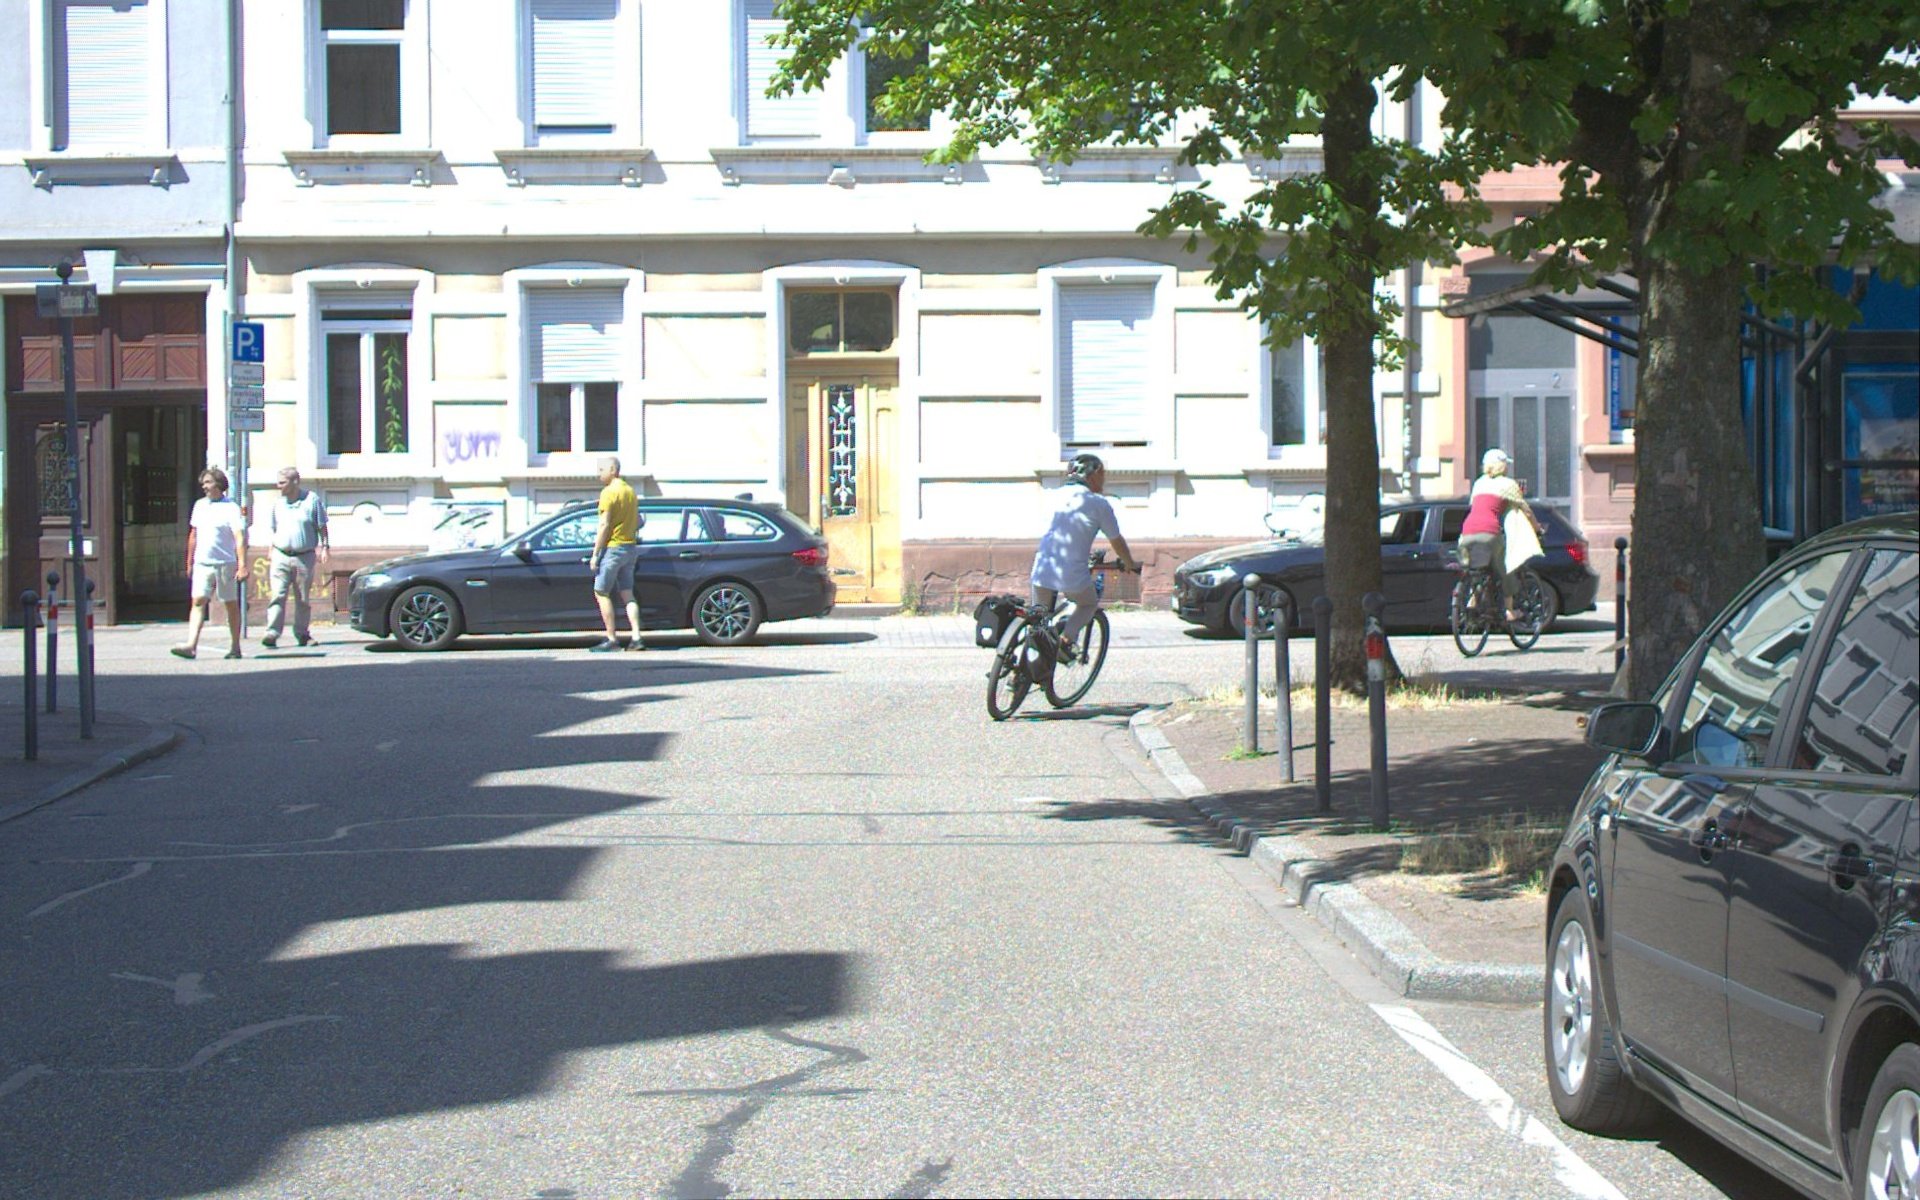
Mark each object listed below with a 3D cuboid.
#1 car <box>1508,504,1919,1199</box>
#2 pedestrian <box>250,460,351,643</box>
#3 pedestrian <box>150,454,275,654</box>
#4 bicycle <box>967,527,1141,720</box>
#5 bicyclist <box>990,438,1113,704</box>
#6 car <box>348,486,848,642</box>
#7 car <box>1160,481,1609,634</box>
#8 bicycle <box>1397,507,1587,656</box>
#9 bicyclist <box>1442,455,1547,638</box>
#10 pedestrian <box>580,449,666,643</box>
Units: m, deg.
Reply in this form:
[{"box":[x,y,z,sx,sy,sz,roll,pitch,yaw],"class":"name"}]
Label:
[{"box":[2.412,0.593,7.296,1.663,1.535,4.178,1,2,-2],"class":"car"},{"box":[-6.687,-0.499,34.891,0.901,1.807,0.960,-1,2,-7],"class":"pedestrian"},{"box":[-7.186,-0.450,33.077,0.850,1.882,0.935,-1,2,9],"class":"pedestrian"},{"box":[0.667,0.128,23.462,0.652,1.224,2.440,1,2,14],"class":"bicycle"},{"box":[0.623,-0.203,23.246,0.671,1.754,0.609,2,2,15],"class":"bicyclist"},{"box":[-3.576,-0.384,34.688,4.859,1.432,2.000,-1,2,-2],"class":"car"},{"box":[4.278,-0.453,35.065,4.294,1.365,1.807,-1,4,-2],"class":"car"},{"box":[4.545,-0.175,29.227,0.653,1.205,2.437,2,2,33],"class":"bicycle"},{"box":[4.537,-0.456,29.181,0.671,1.527,0.608,0,2,33],"class":"bicyclist"},{"box":[-3.275,-0.531,33.332,0.724,1.847,0.685,-1,2,-11],"class":"pedestrian"}]
